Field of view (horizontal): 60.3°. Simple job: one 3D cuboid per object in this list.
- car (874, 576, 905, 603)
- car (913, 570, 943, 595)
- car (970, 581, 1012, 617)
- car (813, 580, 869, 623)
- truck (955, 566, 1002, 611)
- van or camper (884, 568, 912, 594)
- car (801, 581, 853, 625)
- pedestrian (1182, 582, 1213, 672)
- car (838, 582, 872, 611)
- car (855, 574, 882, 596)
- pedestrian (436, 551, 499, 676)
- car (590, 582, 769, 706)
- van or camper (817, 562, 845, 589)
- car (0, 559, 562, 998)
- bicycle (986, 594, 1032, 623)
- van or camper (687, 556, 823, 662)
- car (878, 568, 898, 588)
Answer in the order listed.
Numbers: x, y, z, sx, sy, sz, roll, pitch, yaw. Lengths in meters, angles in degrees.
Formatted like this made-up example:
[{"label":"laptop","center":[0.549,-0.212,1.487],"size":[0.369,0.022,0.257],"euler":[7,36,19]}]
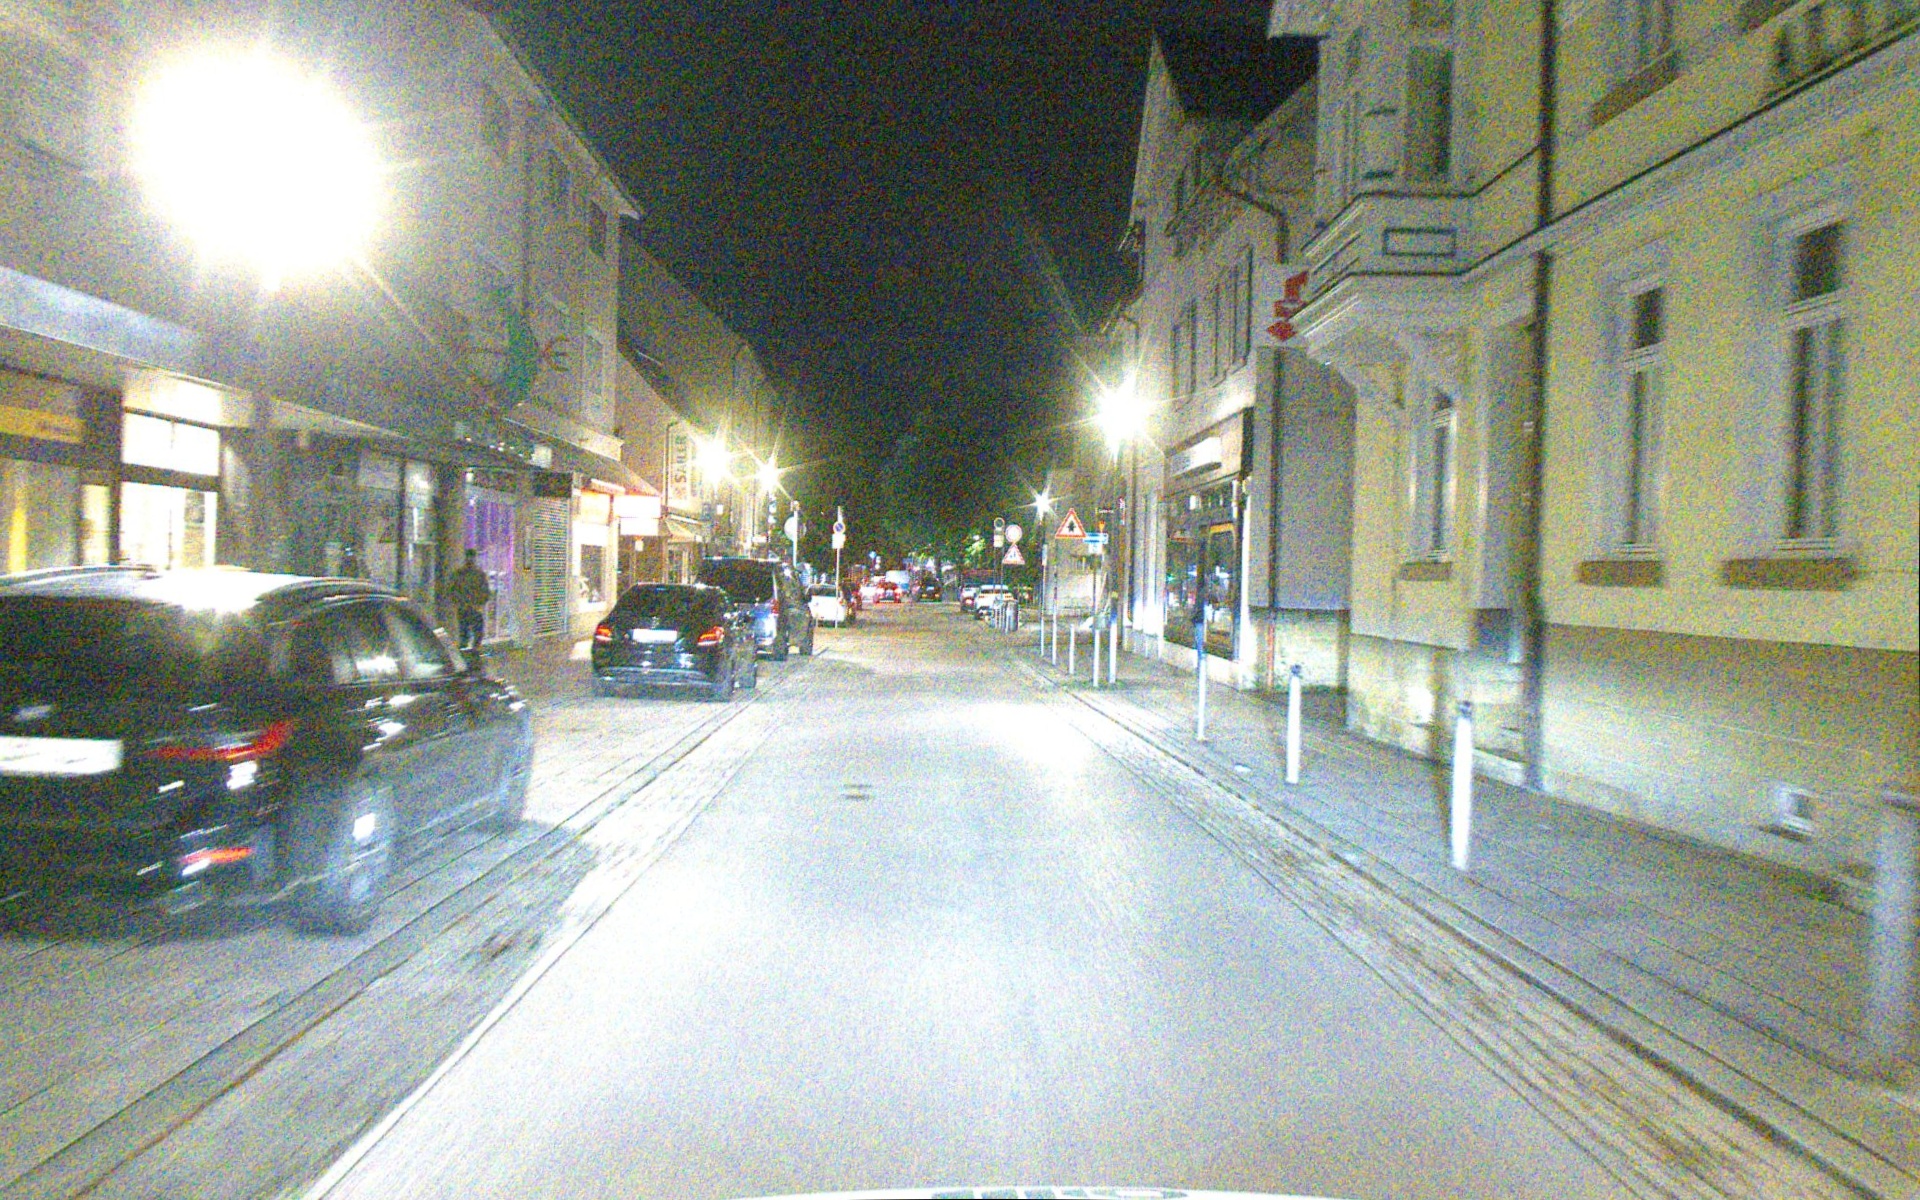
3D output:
[{"label":"car","center":[-5.115,-0.783,119.390],"size":[1.955,1.855,3.995],"euler":[1,1,-6]},{"label":"car","center":[-2.445,-1.347,125.008],"size":[1.781,1.860,4.340],"euler":[0,1,-8]},{"label":"car","center":[1.386,-0.078,74.481],"size":[1.753,1.517,4.058],"euler":[-1,1,-1]},{"label":"car","center":[-4.701,0.013,65.860],"size":[1.979,1.513,5.005],"euler":[3,1,-2]},{"label":"truck","center":[0.965,-0.649,89.867],"size":[2.289,2.352,5.778],"euler":[0,1,-2]},{"label":"van or camper","center":[-5.667,-1.762,151.197],"size":[2.069,2.357,4.254],"euler":[-1,1,-8]},{"label":"car","center":[-4.837,0.082,60.454],"size":[1.694,1.502,3.845],"euler":[2,1,-3]},{"label":"pedestrian","center":[4.221,0.482,29.410],"size":[0.490,1.574,0.480],"euler":[2,0,4]},{"label":"car","center":[-5.999,-0.206,93.977],"size":[1.642,1.570,4.224],"euler":[1,1,-7]},{"label":"car","center":[-7.389,-1.234,133.859],"size":[1.955,1.732,3.995],"euler":[1,1,-7]},{"label":"pedestrian","center":[-7.214,0.191,24.249],"size":[0.608,1.776,1.022],"euler":[1,0,-1]},{"label":"car","center":[-3.641,0.511,22.187],"size":[1.682,1.437,4.385],"euler":[2,1,-1]},{"label":"van or camper","center":[-10.308,-1.921,131.784],"size":[1.832,2.046,4.254],"euler":[2,1,-8]},{"label":"car","center":[-3.276,0.611,7.996],"size":[1.761,1.503,4.319],"euler":[2,0,-2]},{"label":"bicycle","center":[1.842,0.312,62.760],"size":[1.720,1.080,0.346],"euler":[0,1,-5]},{"label":"van or camper","center":[-4.147,0.142,34.289],"size":[1.807,1.975,5.156],"euler":[2,1,4]},{"label":"car","center":[-7.437,-2.270,170.077],"size":[1.804,1.934,3.840],"euler":[0,1,-7]}]
